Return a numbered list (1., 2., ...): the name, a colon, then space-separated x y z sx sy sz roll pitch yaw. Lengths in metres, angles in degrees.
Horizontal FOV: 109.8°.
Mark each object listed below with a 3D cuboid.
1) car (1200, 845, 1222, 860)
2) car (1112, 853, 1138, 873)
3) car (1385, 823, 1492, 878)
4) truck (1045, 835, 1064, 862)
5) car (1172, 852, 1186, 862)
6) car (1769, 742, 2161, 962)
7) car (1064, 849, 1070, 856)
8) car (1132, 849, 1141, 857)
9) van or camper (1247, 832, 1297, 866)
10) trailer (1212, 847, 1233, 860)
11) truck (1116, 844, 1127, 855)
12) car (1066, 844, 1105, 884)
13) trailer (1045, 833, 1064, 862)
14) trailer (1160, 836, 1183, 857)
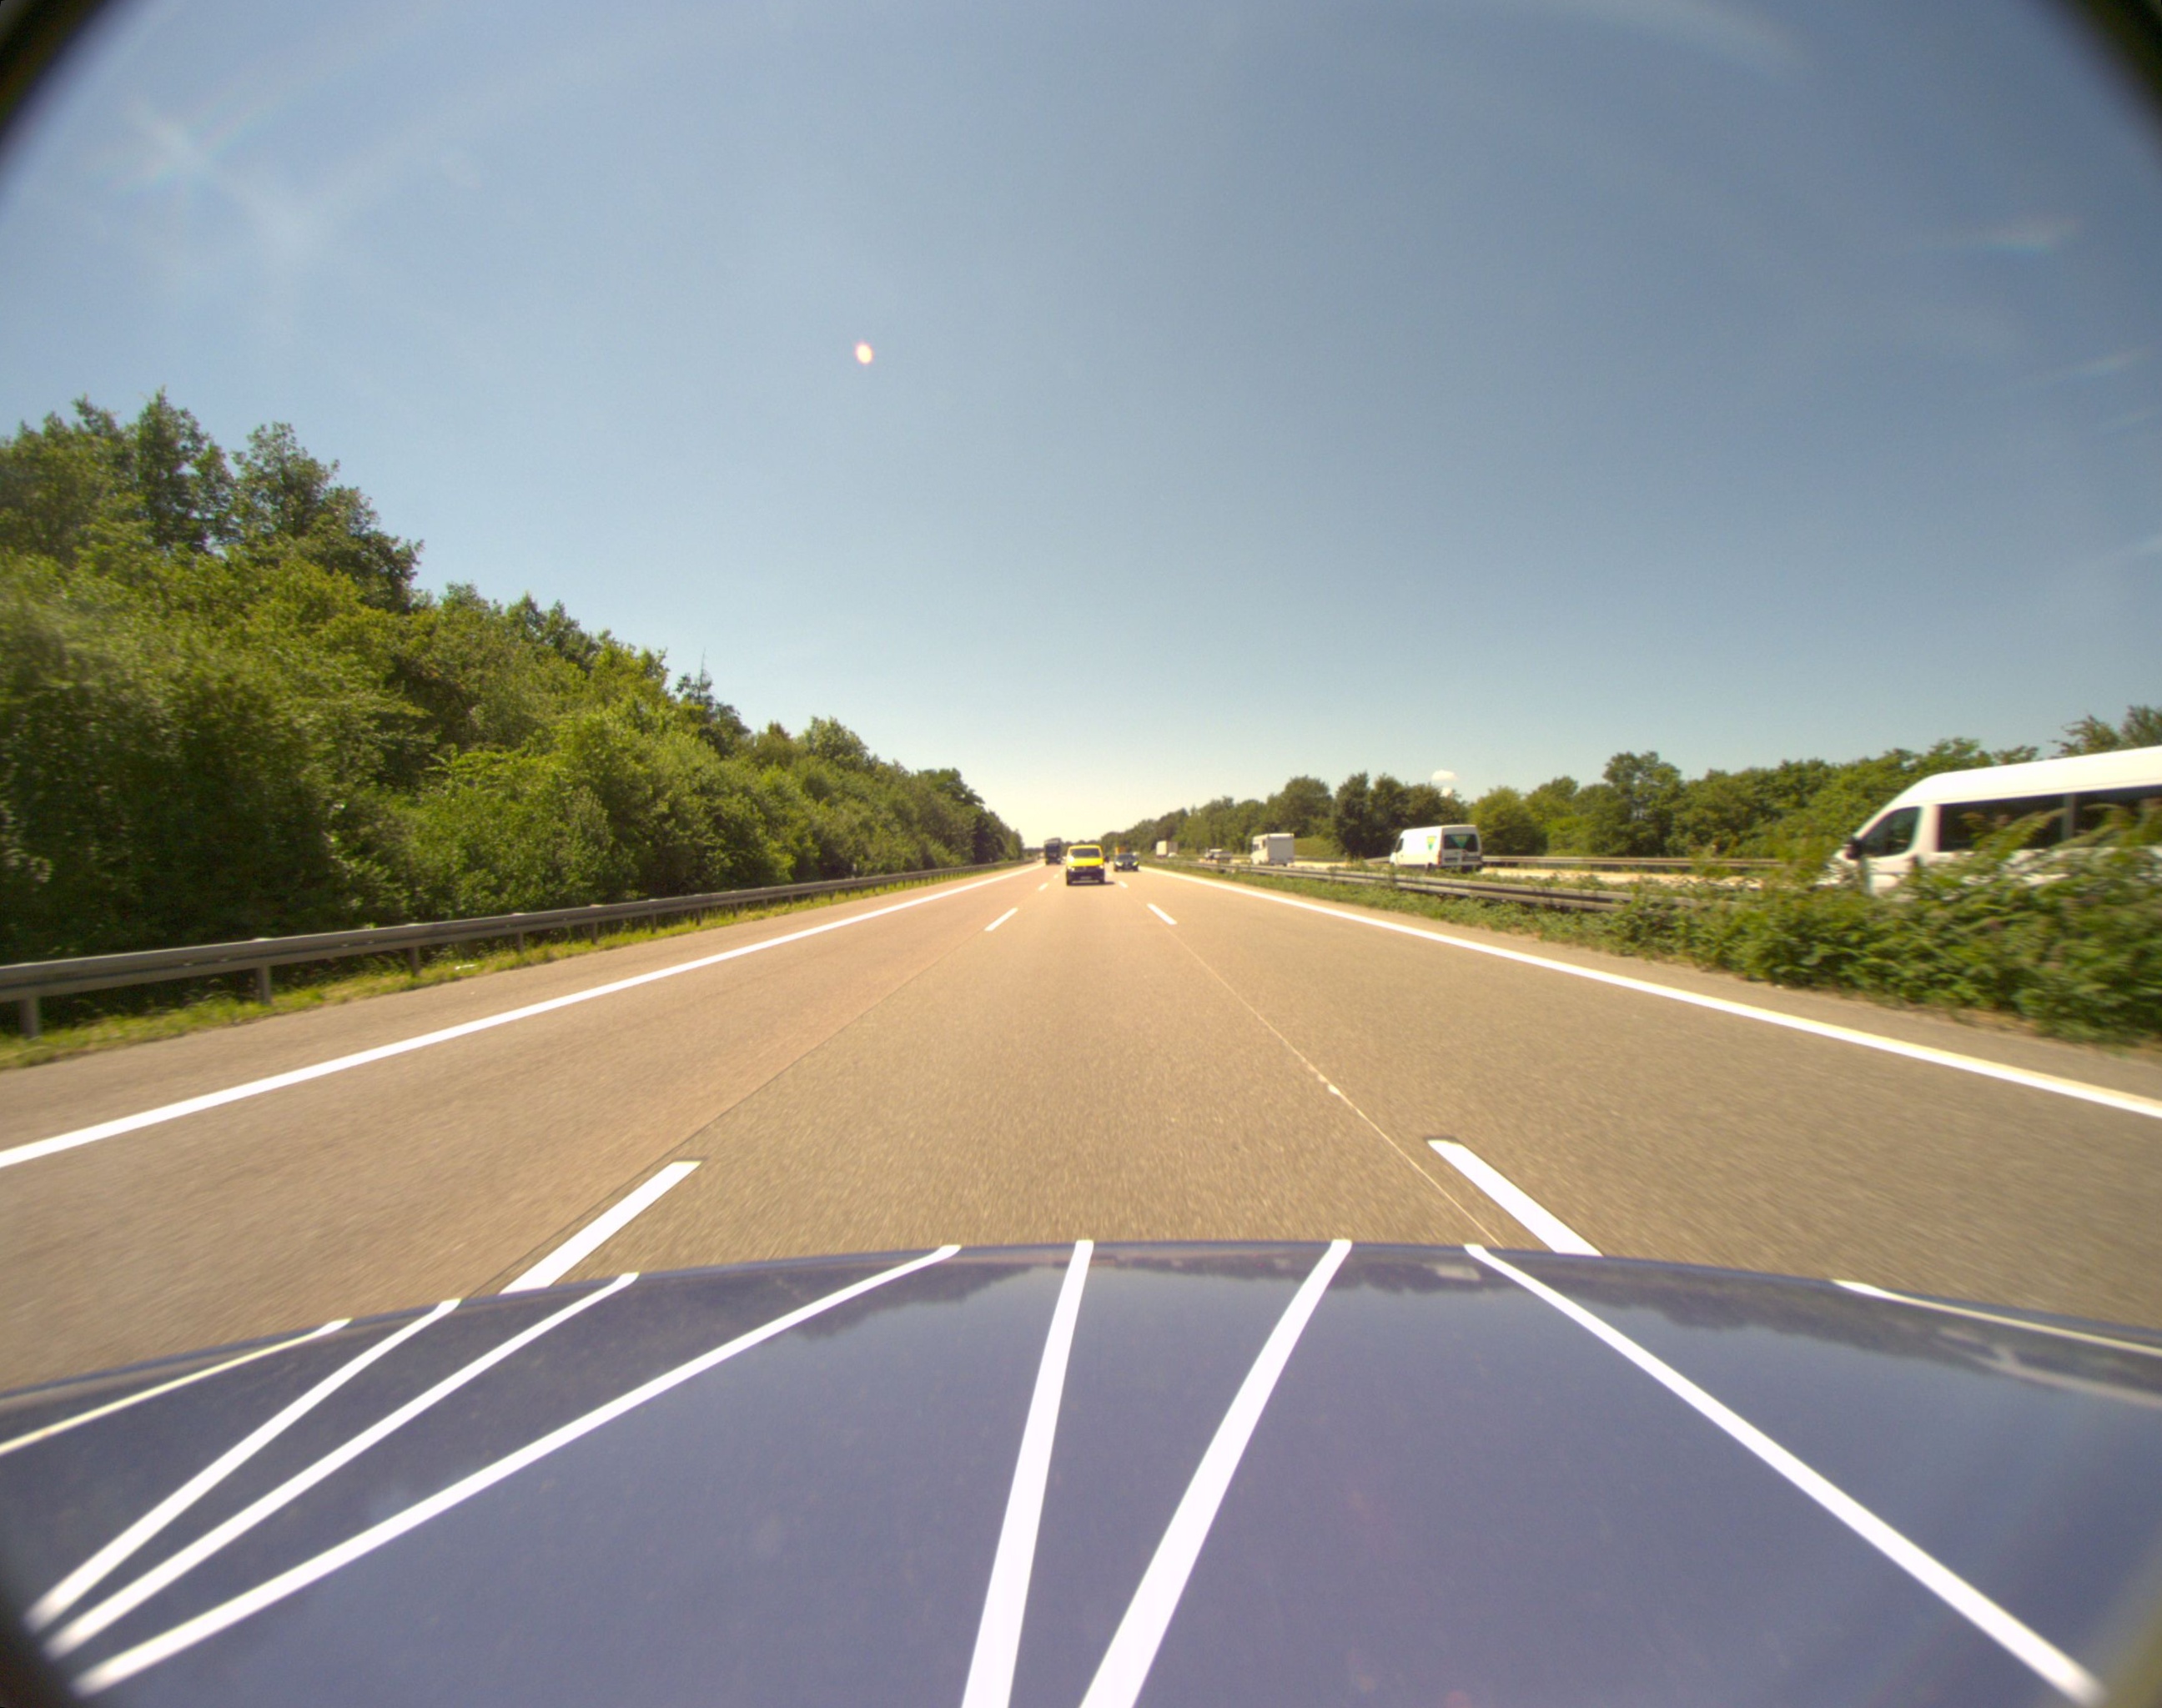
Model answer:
1. car: 20.143 -0.277 118.051 2.249 2.159 6.540 -1 0 0
2. car: 3.533 0.683 61.206 1.726 1.478 3.999 -2 0 -1
3. car: 17.270 -0.188 37.205 2.220 2.427 6.419 -1 0 0
4. truck: -4.282 -0.842 124.363 2.916 4.231 4.974 -2 0 -2
5. car: 16.587 0.453 128.702 1.817 1.586 5.009 -1 0 0
6. car: 12.764 -0.042 9.969 1.998 2.386 6.165 -1 0 1
7. car: -4.541 -0.491 246.275 1.999 2.002 3.999 -1 0 -1
8. car: 14.304 -0.238 195.545 1.820 1.865 4.877 -2 0 -1
9. van or camper: 16.843 -0.431 67.499 2.519 2.833 8.026 -1 0 1
10. trailer: 20.421 -0.089 109.837 2.033 1.825 4.989 -1 0 0
11. truck: 14.204 -1.615 267.338 2.757 4.017 10.789 -2 1 -1
12. car: 0.226 0.474 37.663 1.776 1.882 3.832 -1 0 0
13. trailer: -4.621 -1.045 131.699 2.909 4.630 13.982 -2 0 -3
14. trailer: 20.106 -1.661 169.858 3.320 4.336 13.586 -2 0 0
